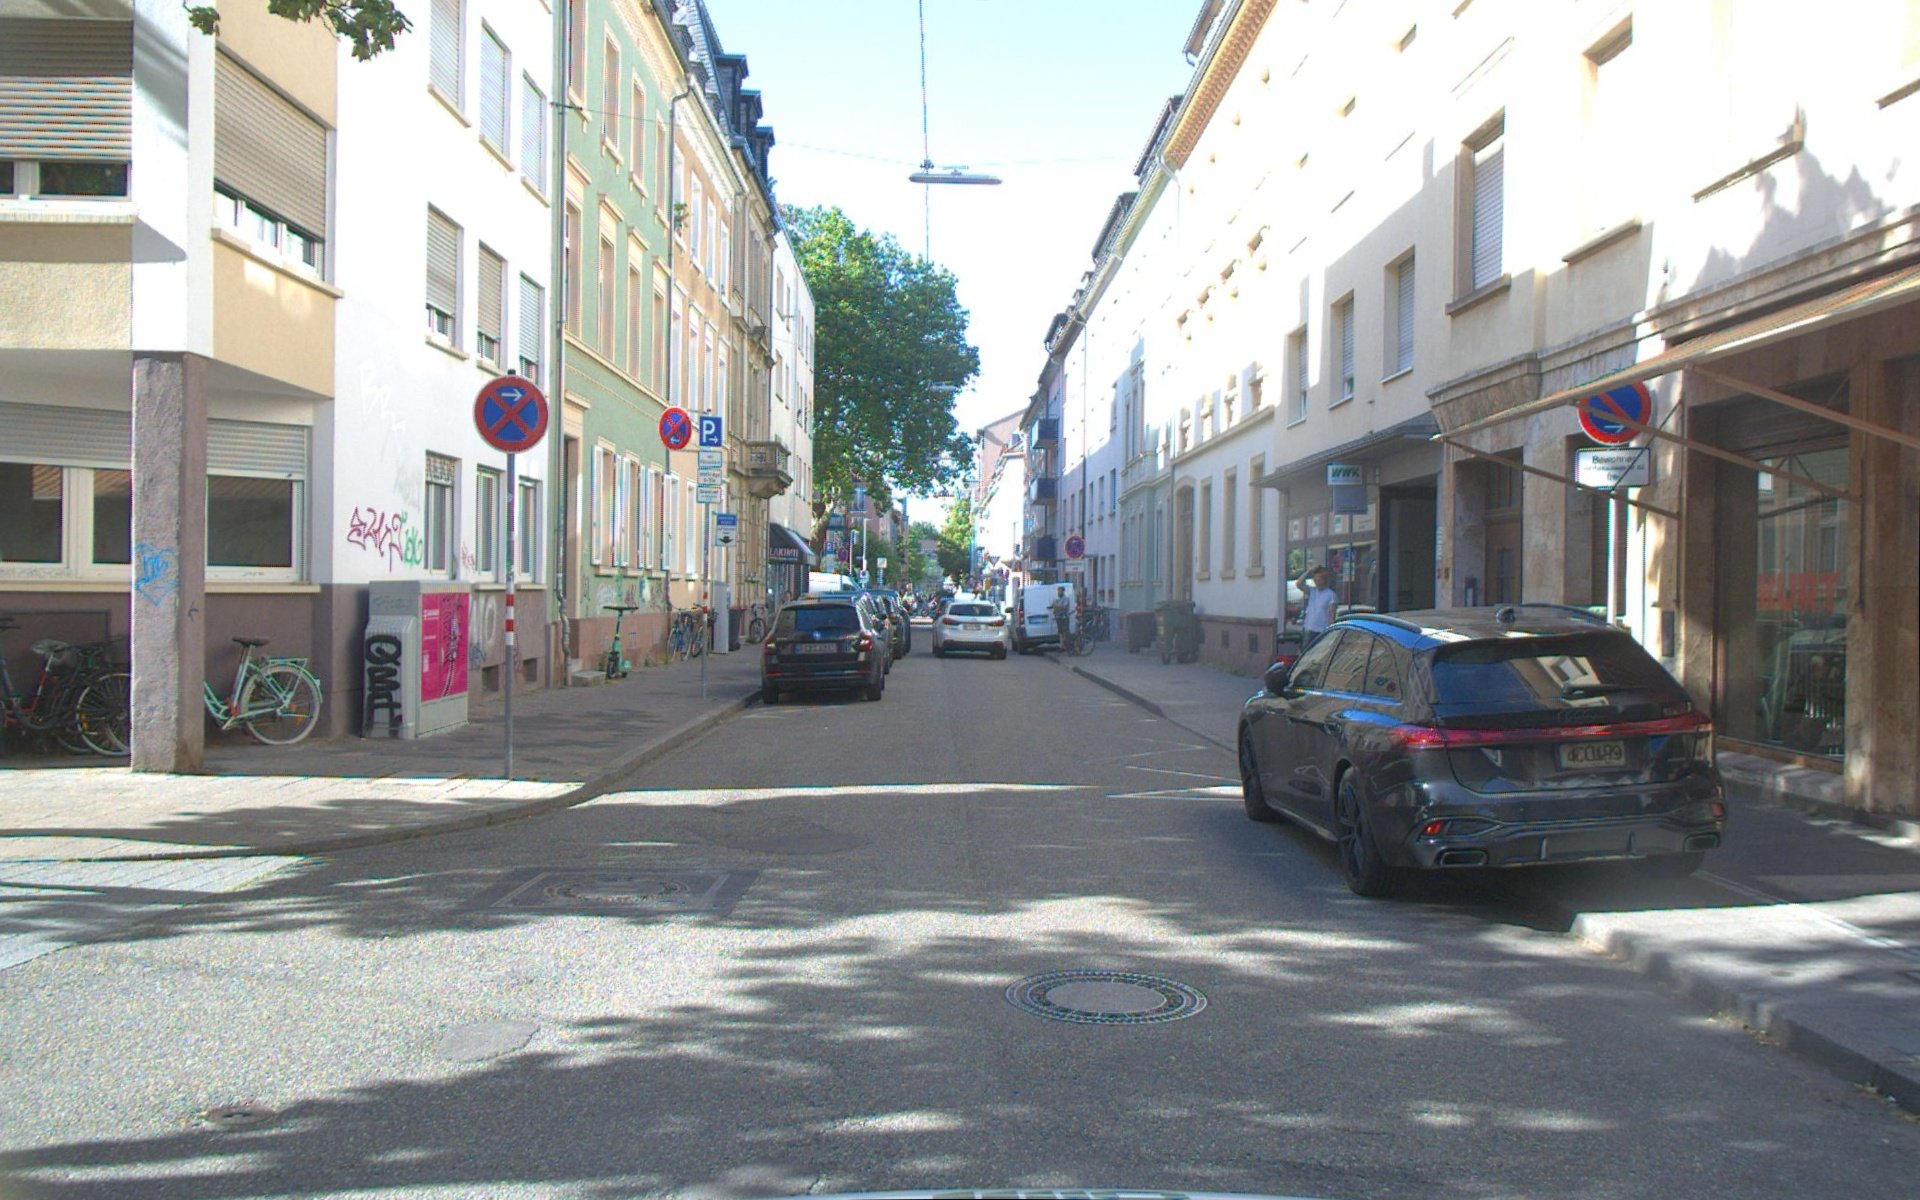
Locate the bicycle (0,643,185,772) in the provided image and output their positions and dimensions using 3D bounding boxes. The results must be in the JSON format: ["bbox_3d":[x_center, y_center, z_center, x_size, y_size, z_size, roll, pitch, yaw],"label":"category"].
[{"bbox_3d":[-7.025,0.832,13.118,0.397,0.913,1.577,0,1,39],"label":"bicycle"}]

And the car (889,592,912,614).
[{"bbox_3d":[-4.580,0.244,127.990,1.734,1.616,3.725,0,1,-2],"label":"car"}]

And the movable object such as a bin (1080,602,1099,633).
[{"bbox_3d":[4.588,0.632,58.681,0.603,1.081,0.603,-1,0,-1],"label":"movable object such as a bin"}]

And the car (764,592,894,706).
[{"bbox_3d":[-1.903,0.670,25.268,1.679,1.514,4.850,-2,0,-2],"label":"car"}]

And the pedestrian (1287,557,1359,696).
[{"bbox_3d":[5.074,0.358,23.139,0.639,1.892,0.743,-2,1,-23],"label":"pedestrian"}]

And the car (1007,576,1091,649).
[{"bbox_3d":[2.548,0.337,48.626,1.943,1.916,5.598,-3,0,-1],"label":"car"}]

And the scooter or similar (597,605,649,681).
[{"bbox_3d":[-5.461,0.684,26.865,0.444,1.202,1.691,0,-1,2],"label":"scooter or similar"}]

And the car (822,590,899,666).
[{"bbox_3d":[-2.170,0.582,36.918,1.583,1.581,3.976,0,0,-2],"label":"car"}]

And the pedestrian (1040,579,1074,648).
[{"bbox_3d":[2.641,0.360,45.196,0.848,1.869,0.883,0,-1,-3],"label":"pedestrian"}]

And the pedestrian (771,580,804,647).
[{"bbox_3d":[-4.571,0.353,43.821,0.749,1.744,0.883,2,0,-2],"label":"pedestrian"}]

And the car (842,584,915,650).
[{"bbox_3d":[-2.268,0.441,47.202,1.897,1.766,5.141,0,0,-1],"label":"car"}]

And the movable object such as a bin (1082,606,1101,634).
[{"bbox_3d":[4.621,0.703,58.072,0.565,0.940,0.607,-2,0,-1],"label":"movable object such as a bin"}]

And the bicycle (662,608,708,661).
[{"bbox_3d":[-5.620,0.698,33.856,0.353,1.046,1.919,0,-1,8],"label":"bicycle"}]

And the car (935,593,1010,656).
[{"bbox_3d":[0.276,0.608,42.581,1.787,1.540,3.822,0,0,-2],"label":"car"}]

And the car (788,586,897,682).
[{"bbox_3d":[-2.129,0.569,31.123,1.708,1.643,4.603,-1,1,0],"label":"car"}]

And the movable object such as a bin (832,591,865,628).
[{"bbox_3d":[-4.615,0.394,68.578,1.270,1.524,1.178,1,-1,-1],"label":"movable object such as a bin"}]

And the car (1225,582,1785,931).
[{"bbox_3d":[2.961,0.732,10.230,1.764,1.606,4.896,1,0,-1],"label":"car"}]

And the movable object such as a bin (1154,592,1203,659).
[{"bbox_3d":[4.790,0.570,36.288,0.820,1.414,1.296,-2,-2,-2],"label":"movable object such as a bin"}]

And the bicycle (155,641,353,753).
[{"bbox_3d":[-6.149,0.825,14.473,0.423,0.897,1.562,2,1,38],"label":"bicycle"}]

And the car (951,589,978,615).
[{"bbox_3d":[0.338,0.121,131.304,1.904,1.982,4.075,1,0,-3],"label":"car"}]

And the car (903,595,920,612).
[{"bbox_3d":[-4.705,0.314,160.208,1.540,1.613,3.610,0,-1,0],"label":"car"}]

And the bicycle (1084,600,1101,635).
[{"bbox_3d":[4.542,0.590,56.803,0.556,1.173,1.869,0,-1,4],"label":"bicycle"}]

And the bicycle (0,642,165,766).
[{"bbox_3d":[-7.405,0.831,13.296,0.376,0.929,1.854,0,0,39],"label":"bicycle"}]

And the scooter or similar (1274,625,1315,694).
[{"bbox_3d":[4.868,0.858,24.100,0.480,0.961,0.869,-1,1,6],"label":"scooter or similar"}]

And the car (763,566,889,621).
[{"bbox_3d":[-7.334,-0.350,91.179,6.601,2.599,2.146,4,-1,1],"label":"car"}]

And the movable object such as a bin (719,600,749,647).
[{"bbox_3d":[-5.624,0.577,41.156,0.705,1.152,0.584,0,-1,-5],"label":"movable object such as a bin"}]

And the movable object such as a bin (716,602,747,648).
[{"bbox_3d":[-5.598,0.603,40.536,0.721,1.108,0.682,0,1,-5],"label":"movable object such as a bin"}]

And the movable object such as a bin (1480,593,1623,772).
[{"bbox_3d":[5.147,0.686,14.483,0.731,1.461,1.372,-2,0,1],"label":"movable object such as a bin"}]

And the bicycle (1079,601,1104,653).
[{"bbox_3d":[3.409,0.678,43.002,0.563,1.293,2.200,-2,0,3],"label":"bicycle"}]

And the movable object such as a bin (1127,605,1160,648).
[{"bbox_3d":[4.751,0.678,42.882,0.780,1.115,0.642,0,-1,1],"label":"movable object such as a bin"}]

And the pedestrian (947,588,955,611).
[{"bbox_3d":[-0.864,-0.050,161.273,0.755,2.155,0.834,0,-1,0],"label":"pedestrian"}]

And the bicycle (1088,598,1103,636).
[{"bbox_3d":[4.571,0.572,55.715,0.428,1.227,2.267,0,-1,6],"label":"bicycle"}]

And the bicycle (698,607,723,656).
[{"bbox_3d":[-5.614,0.702,37.206,0.394,1.074,1.835,0,-1,-4],"label":"bicycle"}]

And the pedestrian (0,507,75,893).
[{"bbox_3d":[-5.084,0.483,8.033,0.892,1.865,1.245,0,-1,-1],"label":"pedestrian"}]

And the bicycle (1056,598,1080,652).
[{"bbox_3d":[2.772,0.624,42.668,0.563,1.344,2.200,-1,0,3],"label":"bicycle"}]

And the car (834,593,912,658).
[{"bbox_3d":[-2.144,0.606,41.686,1.678,1.558,4.367,0,0,1],"label":"car"}]

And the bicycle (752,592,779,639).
[{"bbox_3d":[-5.539,0.445,47.155,0.500,1.299,1.867,0,-1,0],"label":"bicycle"}]

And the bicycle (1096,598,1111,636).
[{"bbox_3d":[4.710,0.561,54.382,0.397,1.227,2.160,0,-1,2],"label":"bicycle"}]
